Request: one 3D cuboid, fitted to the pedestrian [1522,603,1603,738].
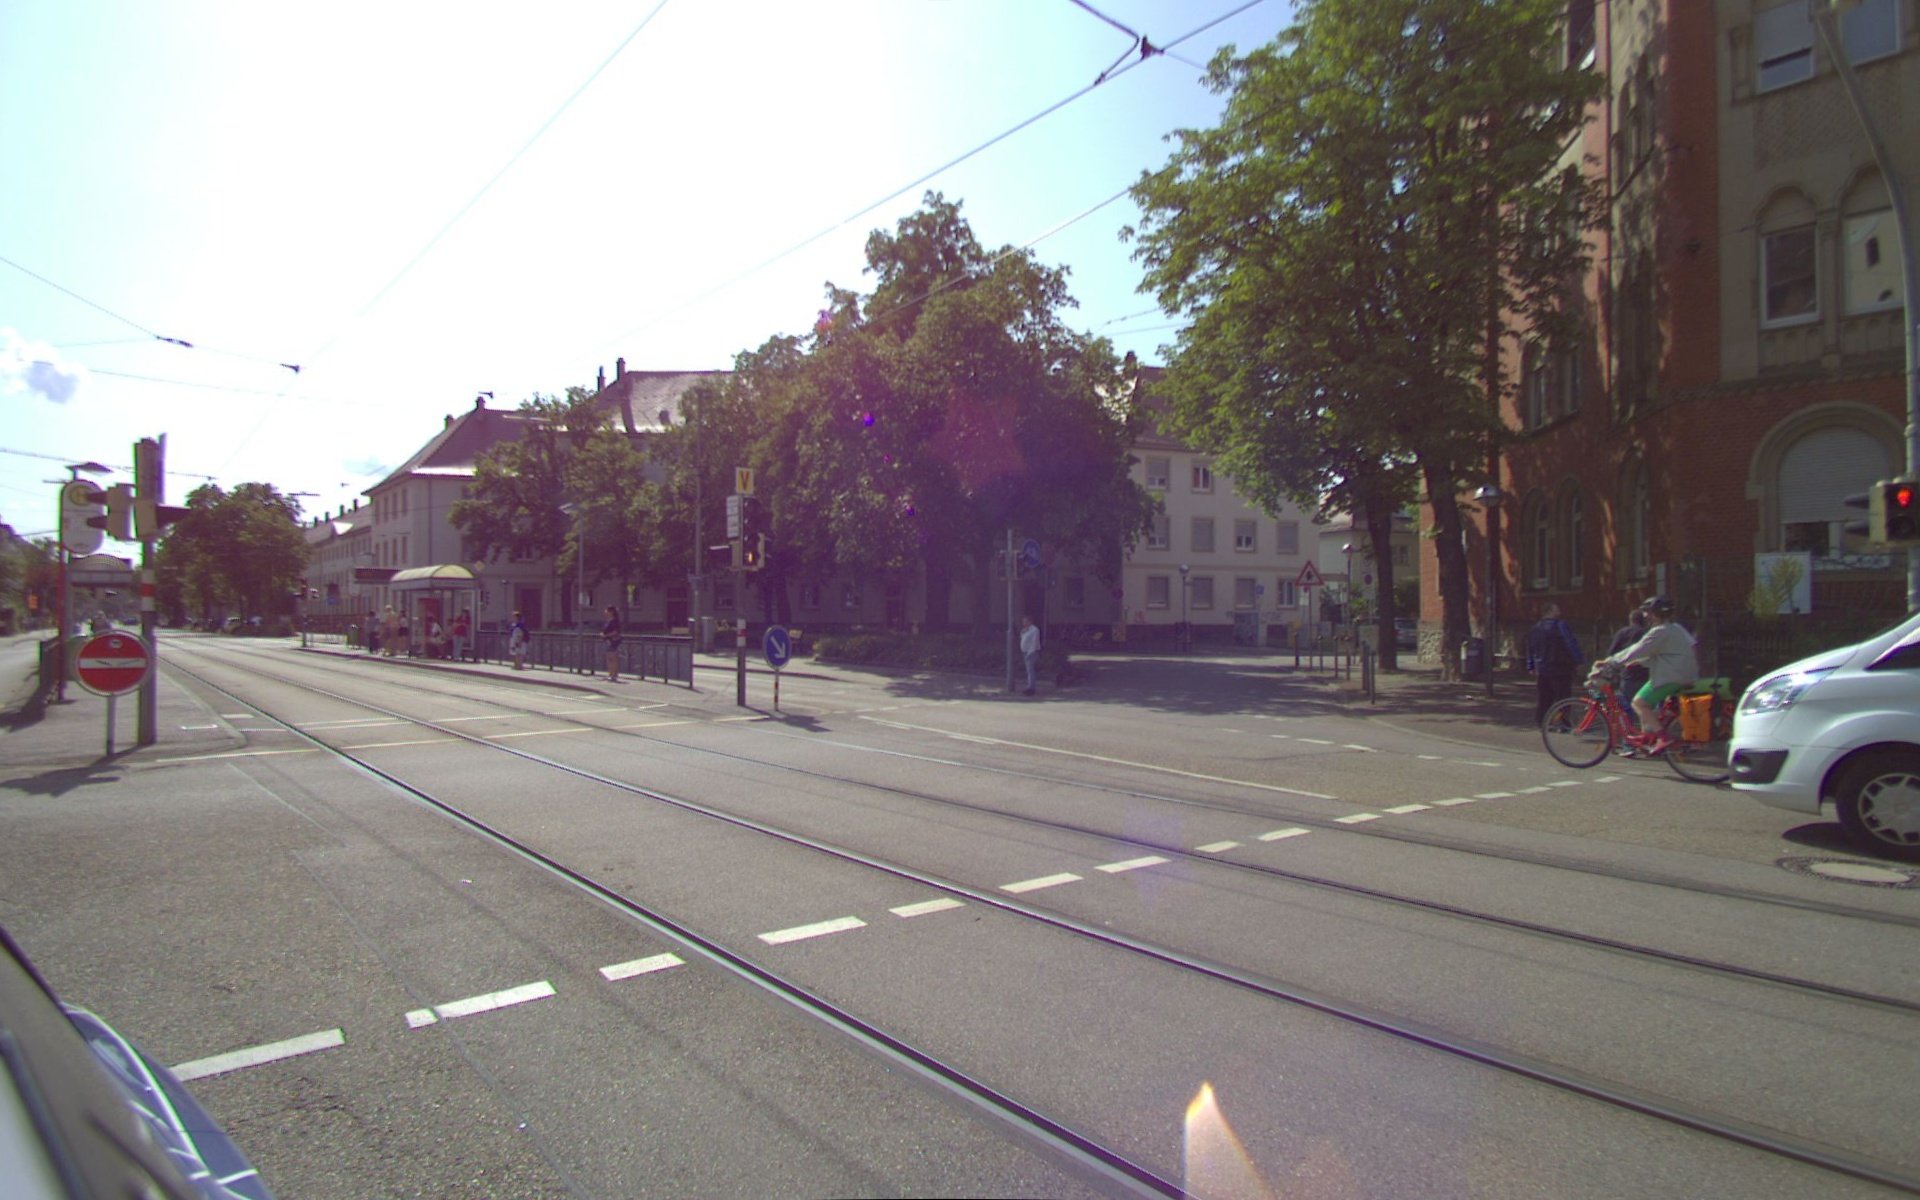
[{"bbox_3d":[7.981,0.900,13.404,0.847,1.711,0.617,-1,0,37],"label":"pedestrian"}]

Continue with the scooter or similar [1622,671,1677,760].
[{"bbox_3d":[7.914,1.307,11.614,0.499,0.929,0.543,-1,0,35],"label":"scooter or similar"}]

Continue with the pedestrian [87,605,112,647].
[{"bbox_3d":[-32.113,0.963,37.766,0.691,1.544,0.558,-1,0,-41],"label":"pedestrian"}]

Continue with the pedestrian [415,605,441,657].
[{"bbox_3d":[-17.853,1.039,33.982,0.678,1.682,0.491,0,-4,43],"label":"pedestrian"}]

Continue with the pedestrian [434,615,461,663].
[{"bbox_3d":[-16.292,1.238,32.171,0.522,1.468,0.693,4,-3,-43],"label":"pedestrian"}]

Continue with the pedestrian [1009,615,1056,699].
[{"bbox_3d":[1.524,1.185,21.244,0.847,1.711,0.460,-1,0,37],"label":"pedestrian"}]

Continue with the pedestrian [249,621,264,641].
[{"bbox_3d":[-52.721,2.284,75.835,0.807,1.484,0.794,-1,-2,45],"label":"pedestrian"}]

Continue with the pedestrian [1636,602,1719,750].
[{"bbox_3d":[8.463,0.879,11.958,0.724,1.669,0.605,-2,-1,35],"label":"pedestrian"}]

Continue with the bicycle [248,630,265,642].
[{"bbox_3d":[-52.898,2.694,76.127,1.619,0.855,0.744,-1,-2,45],"label":"bicycle"}]

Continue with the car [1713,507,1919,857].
[{"bbox_3d":[7.278,0.518,5.251,1.968,2.010,5.097,4,-3,-40],"label":"car"}]

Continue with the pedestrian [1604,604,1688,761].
[{"bbox_3d":[7.645,0.888,11.287,0.750,1.669,0.515,-1,0,35],"label":"pedestrian"}]

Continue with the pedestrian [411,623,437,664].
[{"bbox_3d":[-18.000,1.459,33.977,0.406,1.347,0.596,0,-4,43],"label":"pedestrian"}]

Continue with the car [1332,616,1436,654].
[{"bbox_3d":[19.893,1.617,47.689,1.965,1.688,4.331,1,-2,-25],"label":"car"}]

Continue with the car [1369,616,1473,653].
[{"bbox_3d":[22.144,1.646,48.809,1.965,1.688,4.331,1,-2,-25],"label":"car"}]

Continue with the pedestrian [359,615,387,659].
[{"bbox_3d":[-21.833,1.370,37.626,0.639,1.619,0.648,0,-4,43],"label":"pedestrian"}]

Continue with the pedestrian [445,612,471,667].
[{"bbox_3d":[-15.468,1.222,31.175,0.466,1.669,0.747,5,-4,-41],"label":"pedestrian"}]

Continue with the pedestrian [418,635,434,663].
[{"bbox_3d":[-17.985,1.644,34.067,0.346,0.937,0.335,0,-4,43],"label":"pedestrian"}]

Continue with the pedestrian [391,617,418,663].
[{"bbox_3d":[-20.211,1.450,36.824,0.647,1.654,0.639,5,-4,-41],"label":"pedestrian"}]

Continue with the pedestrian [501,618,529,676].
[{"bbox_3d":[-11.718,1.229,26.651,0.422,1.515,0.705,4,-3,-41],"label":"pedestrian"}]

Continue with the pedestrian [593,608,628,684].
[{"bbox_3d":[-7.322,0.960,21.194,0.530,1.554,0.517,2,-4,-42],"label":"pedestrian"}]

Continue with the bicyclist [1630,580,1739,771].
[{"bbox_3d":[6.842,0.671,9.561,0.828,1.708,0.673,-1,0,-43],"label":"bicyclist"}]
